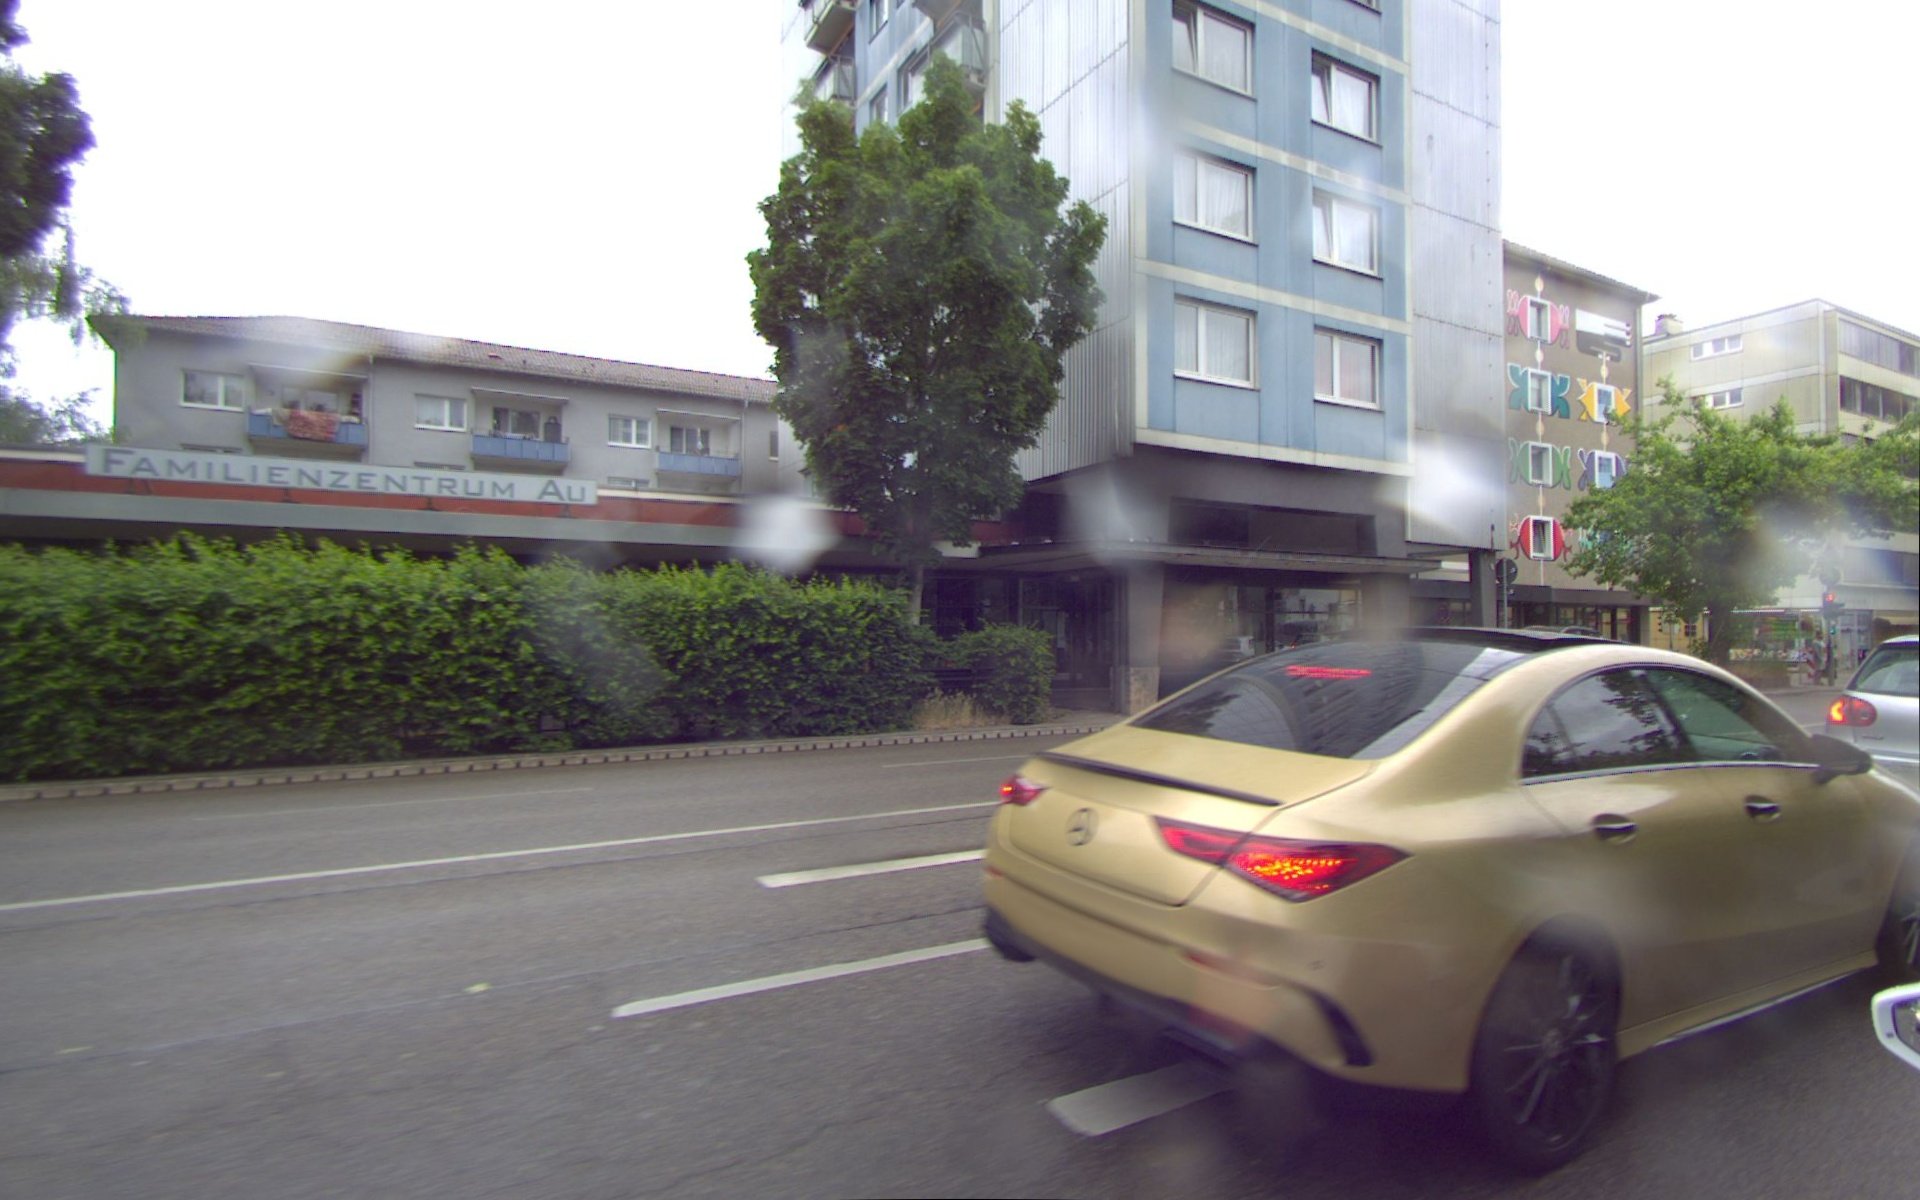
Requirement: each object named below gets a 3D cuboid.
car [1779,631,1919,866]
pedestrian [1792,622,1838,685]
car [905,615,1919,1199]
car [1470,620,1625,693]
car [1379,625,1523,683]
[{"bbox_3d":[7.993,0.986,7.399,4.113,1.506,1.735,1,-3,-31],"label":"car"},{"bbox_3d":[28.077,1.766,33.001,0.879,2.040,0.933,2,-4,-39],"label":"pedestrian"},{"bbox_3d":[2.239,0.830,4.233,4.532,1.483,2.057,1,-2,-30],"label":"car"},{"bbox_3d":[14.937,1.393,25.494,4.237,1.728,1.532,1,-1,-30],"label":"car"},{"bbox_3d":[15.368,1.653,31.401,4.459,1.676,1.984,1,-2,-31],"label":"car"}]
